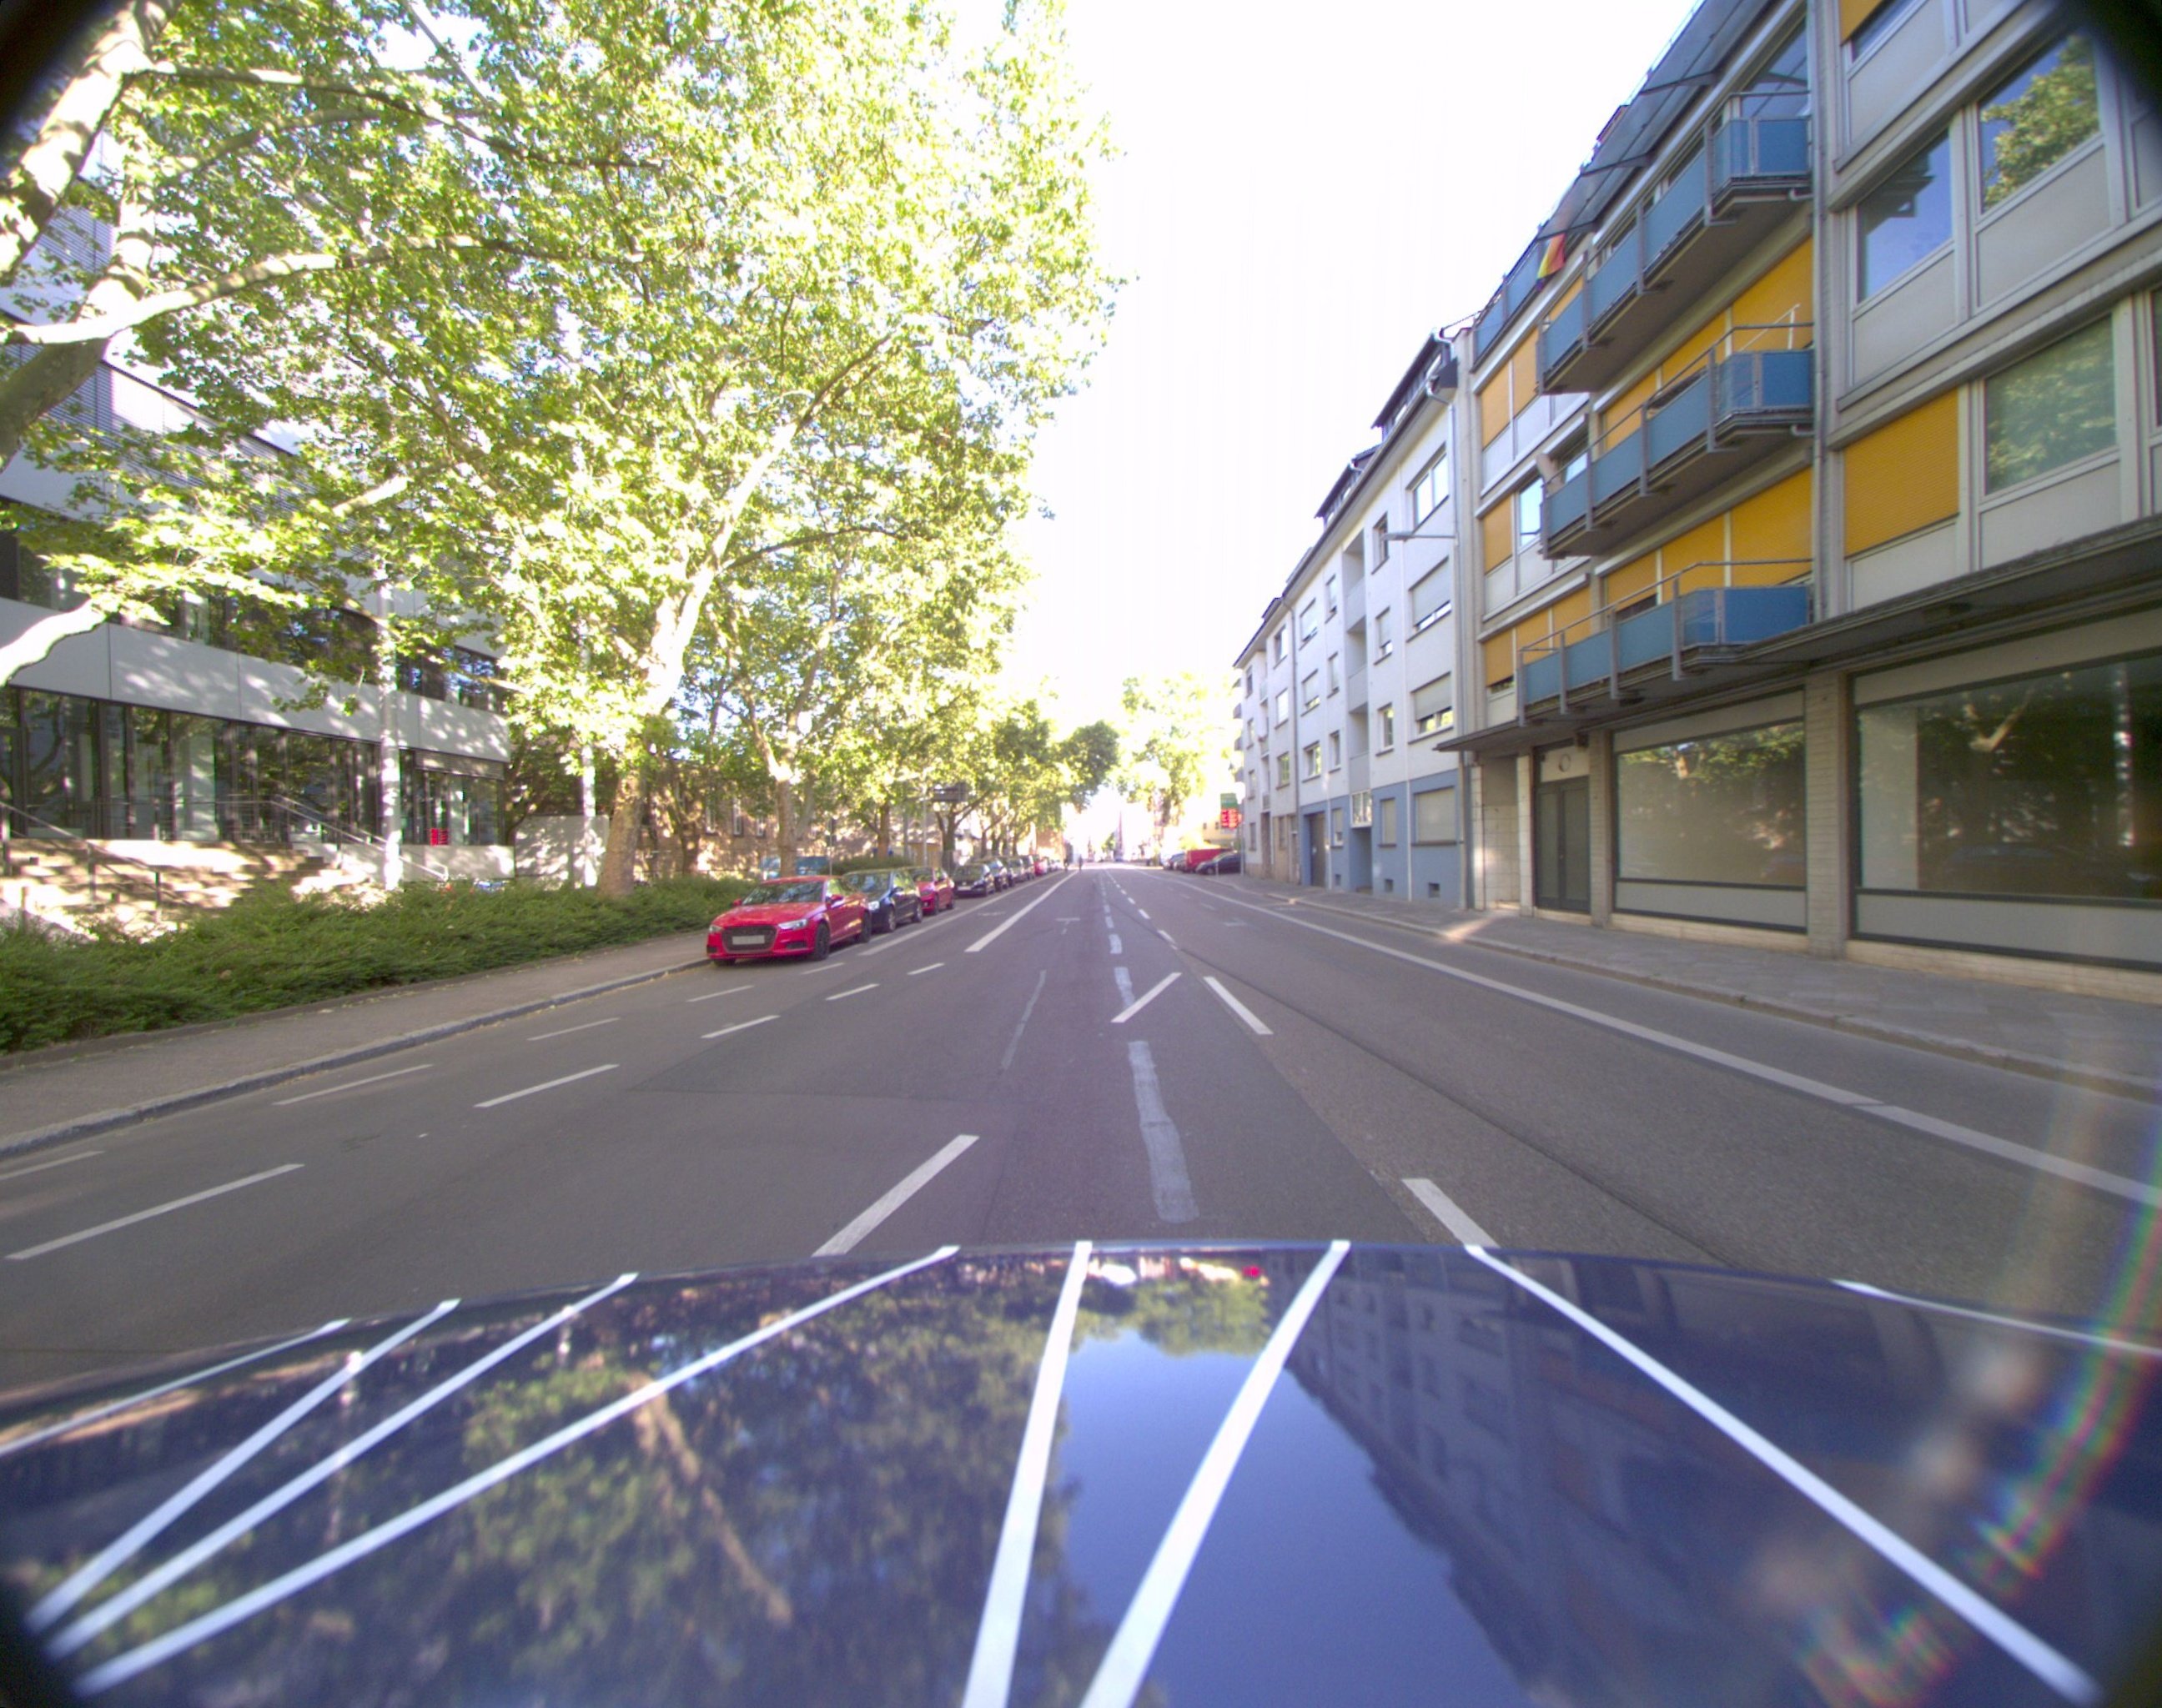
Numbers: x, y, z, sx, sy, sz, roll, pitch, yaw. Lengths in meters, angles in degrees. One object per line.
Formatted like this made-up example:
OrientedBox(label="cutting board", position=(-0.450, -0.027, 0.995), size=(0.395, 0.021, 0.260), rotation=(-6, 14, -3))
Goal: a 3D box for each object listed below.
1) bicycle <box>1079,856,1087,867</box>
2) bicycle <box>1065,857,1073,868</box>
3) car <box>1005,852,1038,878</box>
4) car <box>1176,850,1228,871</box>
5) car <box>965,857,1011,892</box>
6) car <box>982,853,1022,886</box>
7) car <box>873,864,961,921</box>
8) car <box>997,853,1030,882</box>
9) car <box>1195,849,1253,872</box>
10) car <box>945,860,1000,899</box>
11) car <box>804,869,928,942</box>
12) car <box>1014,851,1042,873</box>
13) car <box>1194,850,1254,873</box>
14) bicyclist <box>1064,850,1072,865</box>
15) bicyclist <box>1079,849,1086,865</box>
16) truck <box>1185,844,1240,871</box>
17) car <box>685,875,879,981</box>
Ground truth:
OrientedBox(label="bicycle", position=(0.191, 0.786, 79.589), size=(0.717, 1.052, 2.485), rotation=(-2, 1, 1))
OrientedBox(label="bicycle", position=(-1.291, 0.849, 78.947), size=(0.717, 1.052, 2.485), rotation=(-2, 1, 1))
OrientedBox(label="car", position=(-4.318, 0.792, 55.672), size=(2.042, 1.745, 4.552), rotation=(-3, 0, 0))
OrientedBox(label="car", position=(9.977, 0.525, 62.854), size=(3.996, 1.494, 1.761), rotation=(-2, 1, 2))
OrientedBox(label="car", position=(-4.601, 0.974, 38.141), size=(1.790, 1.544, 4.163), rotation=(-3, 0, 0))
OrientedBox(label="car", position=(-4.525, 0.865, 44.158), size=(1.790, 1.745, 4.345), rotation=(-3, 0, 0))
OrientedBox(label="car", position=(-5.030, 1.121, 23.869), size=(1.818, 1.475, 4.163), rotation=(-3, 0, 0))
OrientedBox(label="car", position=(-4.446, 0.848, 50.713), size=(1.790, 1.745, 4.552), rotation=(-3, 0, 0))
OrientedBox(label="car", position=(10.727, 0.478, 57.152), size=(3.996, 1.494, 1.761), rotation=(-2, 1, 2))
OrientedBox(label="car", position=(-4.703, 1.074, 33.396), size=(1.790, 1.451, 4.163), rotation=(-3, 0, 0))
OrientedBox(label="car", position=(-5.083, 1.167, 18.585), size=(1.818, 1.405, 4.163), rotation=(-3, 0, 0))
OrientedBox(label="car", position=(-4.592, 0.695, 66.102), size=(2.042, 1.745, 4.552), rotation=(-3, 0, 0))
OrientedBox(label="car", position=(10.253, 0.545, 54.805), size=(3.996, 1.449, 1.761), rotation=(-2, 1, 2))
OrientedBox(label="bicyclist", position=(-1.309, 0.358, 78.866), size=(0.718, 1.573, 0.936), rotation=(-2, 1, 1))
OrientedBox(label="bicyclist", position=(0.168, 0.295, 79.492), size=(0.718, 1.573, 0.936), rotation=(-2, 1, 1))
OrientedBox(label="truck", position=(10.367, 0.244, 60.001), size=(3.996, 1.925, 1.761), rotation=(-2, 1, 2))
OrientedBox(label="car", position=(-5.138, 1.190, 13.730), size=(1.818, 1.405, 4.163), rotation=(-3, 0, 0))
